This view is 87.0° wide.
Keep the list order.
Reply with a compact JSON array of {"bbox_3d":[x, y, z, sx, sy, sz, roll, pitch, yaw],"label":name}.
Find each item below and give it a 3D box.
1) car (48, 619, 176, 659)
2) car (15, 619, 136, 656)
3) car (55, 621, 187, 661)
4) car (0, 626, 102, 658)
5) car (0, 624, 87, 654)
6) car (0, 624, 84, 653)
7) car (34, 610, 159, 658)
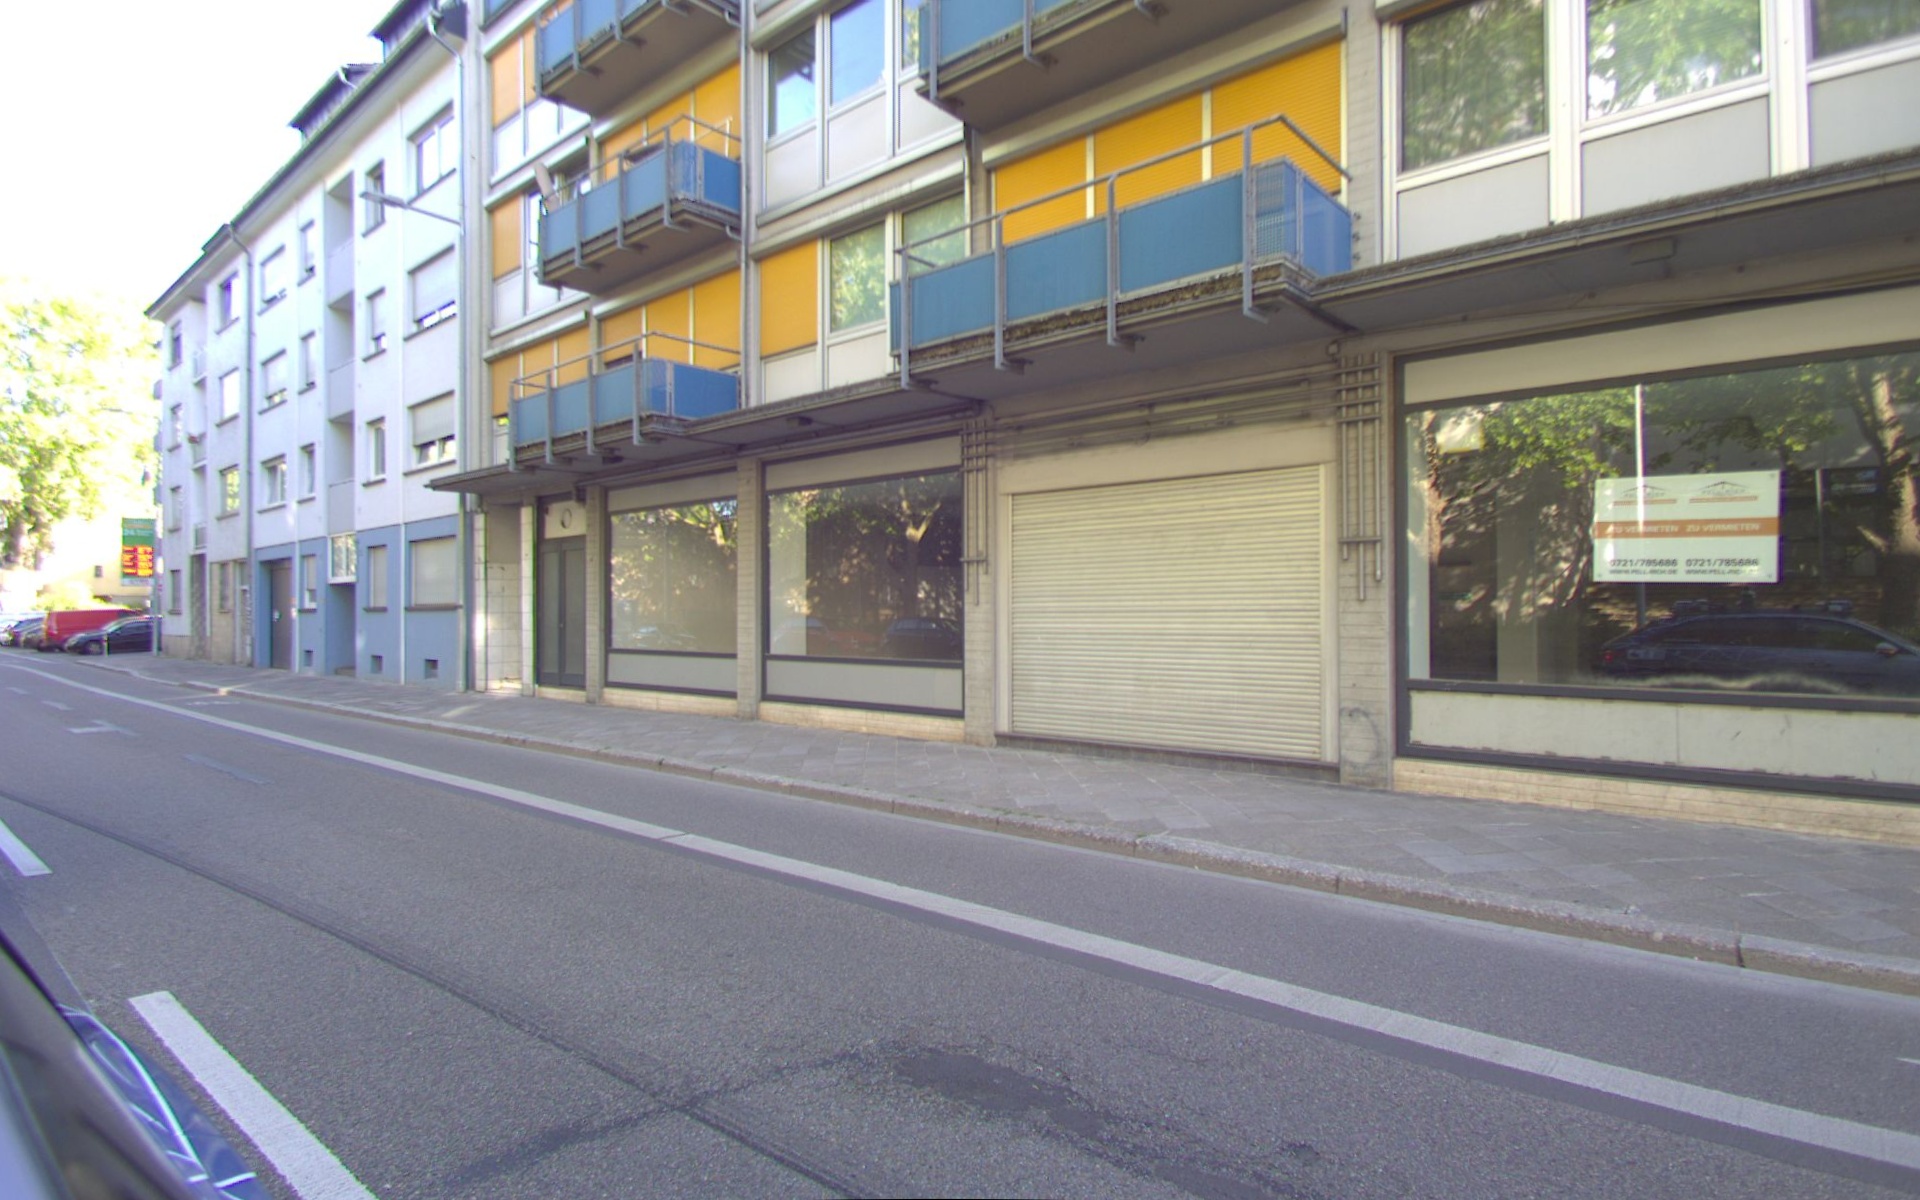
[{"bbox_3d":[-38.192,1.730,45.664,1.652,1.480,4.201,-1,1,41],"label":"car"},{"bbox_3d":[-42.762,1.789,49.022,1.652,1.480,4.201,-1,1,41],"label":"car"},{"bbox_3d":[-36.499,1.743,44.101,1.652,1.411,4.201,-1,1,41],"label":"car"},{"bbox_3d":[-50.469,2.291,56.113,1.652,1.480,4.201,-1,1,41],"label":"car"},{"bbox_3d":[-54.502,2.277,59.797,1.652,1.480,4.201,-1,1,41],"label":"car"},{"bbox_3d":[-55.883,2.297,61.205,1.652,1.480,4.201,-1,1,41],"label":"car"},{"bbox_3d":[-40.574,1.557,47.626,1.817,1.933,4.202,-1,1,40],"label":"car"}]
